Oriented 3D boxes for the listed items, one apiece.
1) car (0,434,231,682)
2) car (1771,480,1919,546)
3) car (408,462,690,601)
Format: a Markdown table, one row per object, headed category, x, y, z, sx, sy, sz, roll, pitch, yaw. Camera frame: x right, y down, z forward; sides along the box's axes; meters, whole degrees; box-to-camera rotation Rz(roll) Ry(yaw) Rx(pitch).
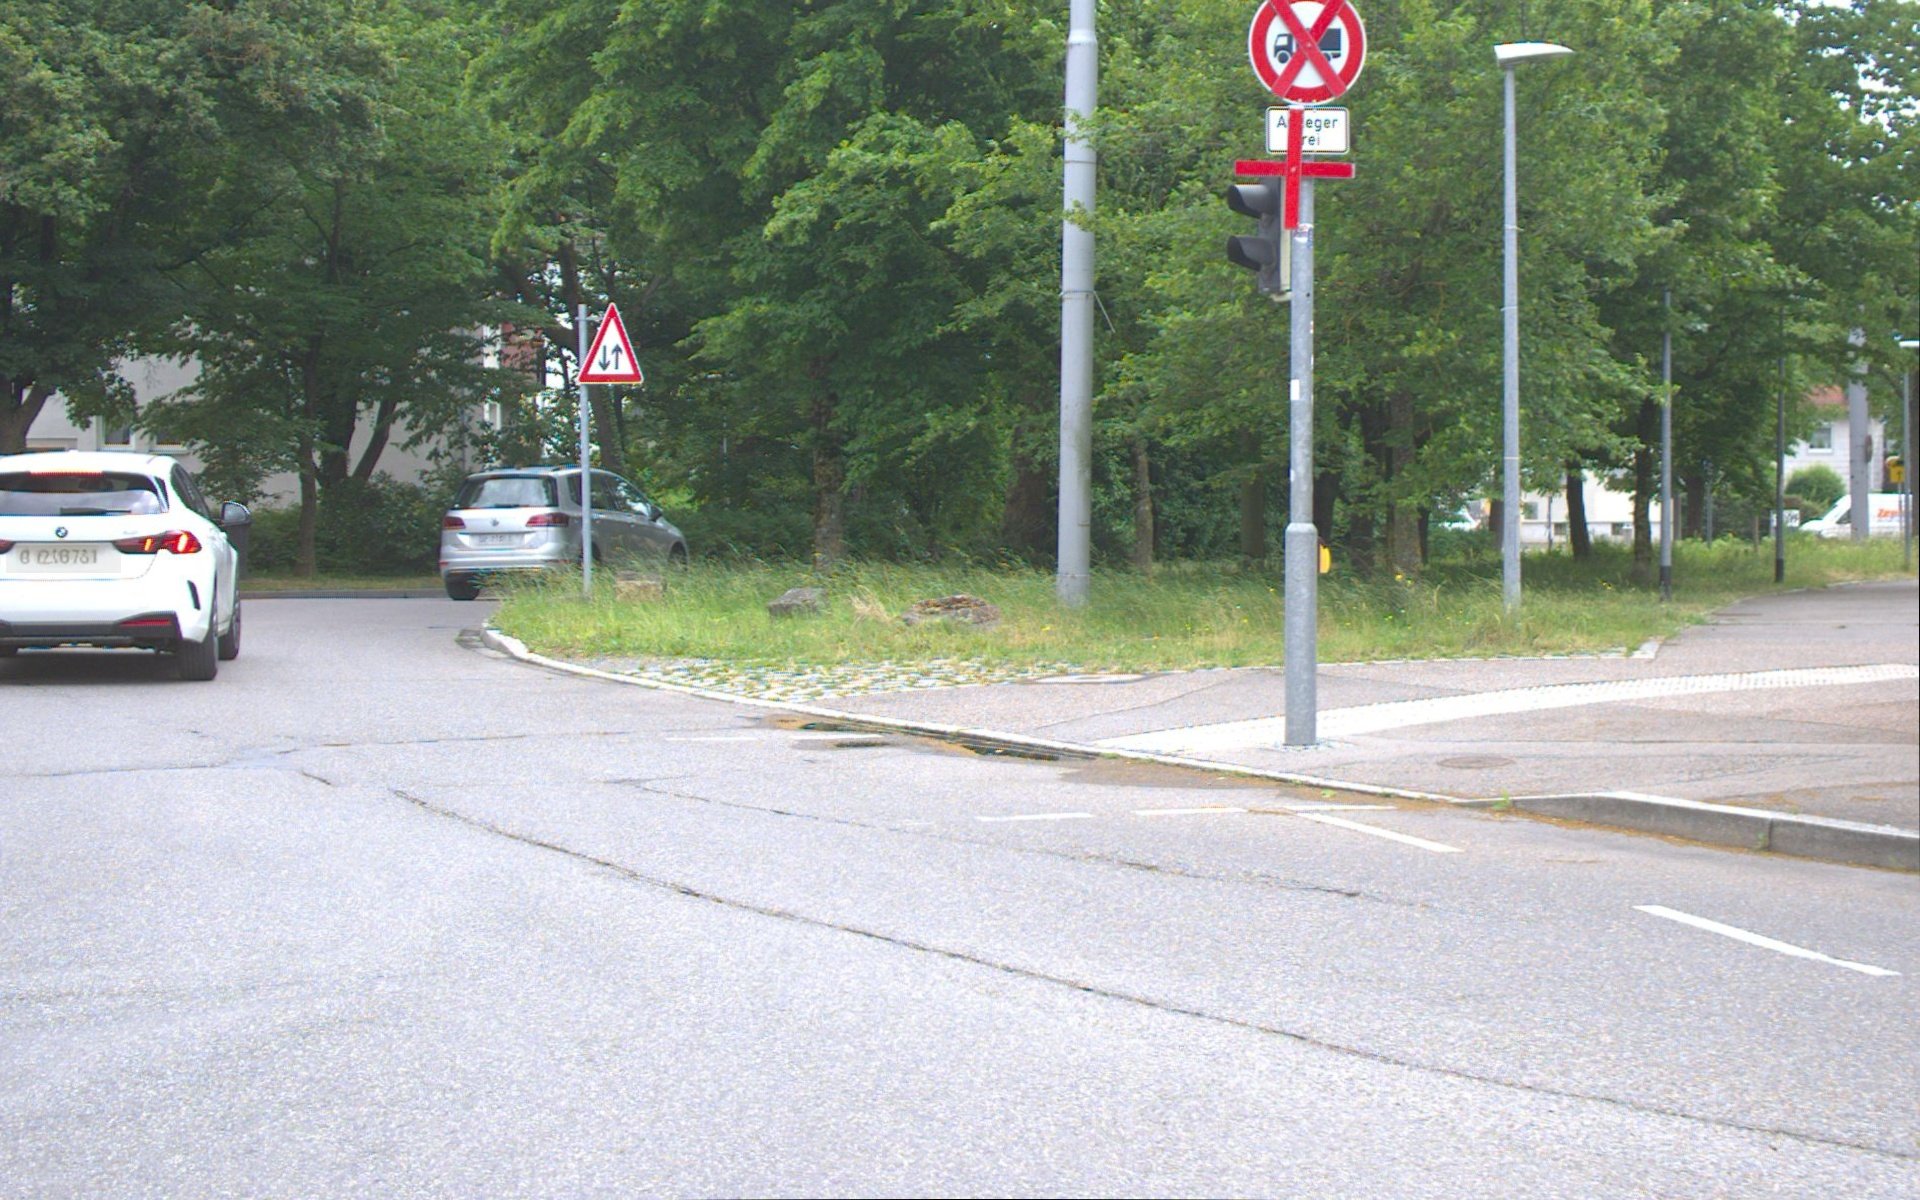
| category | x | y | z | sx | sy | sz | roll | pitch | yaw |
| --- | --- | --- | --- | --- | --- | --- | --- | --- | --- |
| car | -5.888 | -0.287 | 23.162 | 1.795 | 1.512 | 4.208 | 1 | 1 | -11 |
| car | 36.580 | -3.502 | 139.019 | 6.956 | 2.513 | 2.085 | 1 | 3 | -6 |
| car | -4.829 | -0.821 | 40.971 | 1.924 | 1.568 | 3.997 | 0 | 1 | 16 |
